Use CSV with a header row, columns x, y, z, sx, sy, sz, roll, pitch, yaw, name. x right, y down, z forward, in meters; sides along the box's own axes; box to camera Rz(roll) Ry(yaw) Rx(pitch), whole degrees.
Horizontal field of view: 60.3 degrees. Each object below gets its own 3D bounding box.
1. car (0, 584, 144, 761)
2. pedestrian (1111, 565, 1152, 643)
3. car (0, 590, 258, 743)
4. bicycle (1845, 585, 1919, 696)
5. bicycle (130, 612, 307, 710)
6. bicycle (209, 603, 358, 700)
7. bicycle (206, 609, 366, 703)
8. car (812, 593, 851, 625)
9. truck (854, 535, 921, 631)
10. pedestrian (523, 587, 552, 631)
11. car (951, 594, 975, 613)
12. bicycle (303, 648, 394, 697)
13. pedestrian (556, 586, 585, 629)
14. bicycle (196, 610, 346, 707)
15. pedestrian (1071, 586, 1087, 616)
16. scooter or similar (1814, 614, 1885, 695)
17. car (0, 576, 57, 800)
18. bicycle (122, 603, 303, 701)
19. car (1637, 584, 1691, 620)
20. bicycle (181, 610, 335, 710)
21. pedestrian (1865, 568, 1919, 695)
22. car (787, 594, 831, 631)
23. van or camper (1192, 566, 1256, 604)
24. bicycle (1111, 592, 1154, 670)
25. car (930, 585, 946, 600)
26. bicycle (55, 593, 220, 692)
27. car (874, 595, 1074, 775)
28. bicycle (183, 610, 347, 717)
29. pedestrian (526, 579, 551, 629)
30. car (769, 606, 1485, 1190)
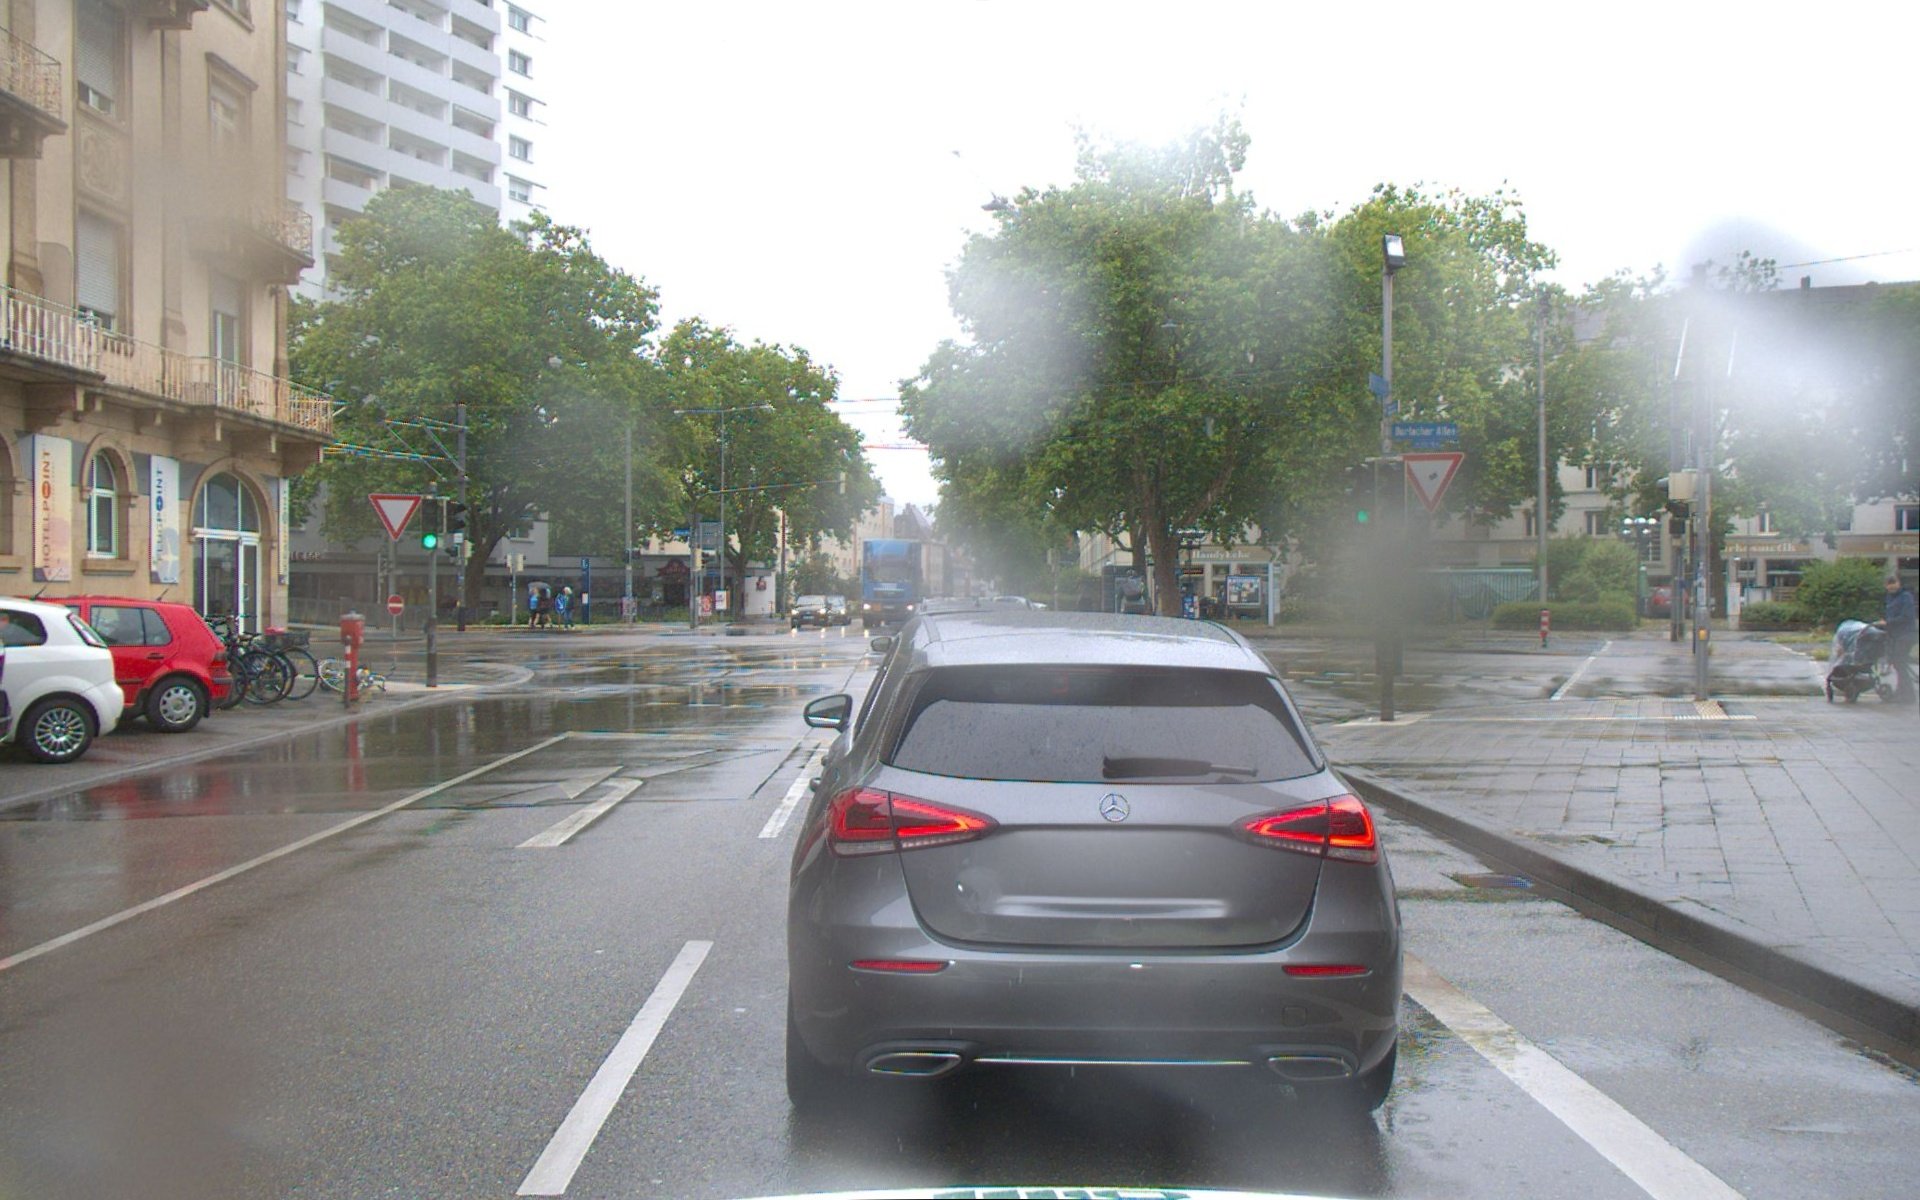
x,y,z,sx,sy,sz,roll,pitch,yaw,name
-9.694,0.625,14.847,3.958,1.560,1.679,1,0,-41,car
3.249,0.072,31.291,0.728,1.422,1.048,-1,0,6,pedestrian
-9.903,0.675,17.806,1.770,1.534,3.980,0,0,40,car
13.072,0.538,22.727,0.522,1.492,1.935,-1,0,-10,bicycle
-11.073,0.899,24.760,2.295,1.369,0.639,-1,0,-6,bicycle
-9.652,0.734,23.633,1.935,1.353,0.438,-1,0,1,bicycle
-9.379,0.775,23.050,1.941,1.205,0.474,3,0,-4,bicycle
-6.563,0.459,84.778,1.691,1.573,4.339,-1,0,-1,car
-3.222,-0.751,76.154,2.788,4.095,10.313,-1,0,-1,truck
-16.618,0.344,65.050,0.774,1.677,0.817,-1,0,14,pedestrian
0.223,0.324,142.864,1.953,1.601,3.998,-1,0,-2,car
-9.290,1.096,25.103,1.029,0.675,1.462,2,-1,-31,bicycle
-15.367,0.280,65.238,0.817,1.677,0.756,-1,0,14,pedestrian
-9.385,0.788,22.548,1.774,1.205,0.468,3,0,-3,bicycle
6.869,0.070,95.571,0.706,1.698,0.661,-1,-1,42,pedestrian
12.210,0.744,22.721,0.502,1.067,0.924,-1,0,2,scooter or similar
-9.218,0.641,12.381,4.048,1.721,1.738,1,0,-41,car
-10.874,0.744,24.108,2.295,1.369,0.639,-1,0,-6,bicycle
31.323,0.087,73.621,1.627,1.548,3.682,-1,0,14,car
-9.343,0.791,22.040,1.774,1.205,0.475,3,0,-3,bicycle
12.761,0.411,22.435,0.590,1.692,0.689,-1,0,2,pedestrian
-6.887,0.551,75.579,1.708,1.573,3.778,-1,0,-1,car
16.290,-0.909,101.701,2.349,2.270,5.424,-1,0,27,van or camper
3.262,0.560,31.304,0.733,1.401,2.709,-1,0,6,bicycle
-2.922,-1.004,218.865,1.850,1.868,4.001,-1,0,3,car
-11.751,0.594,23.678,2.017,1.369,0.584,-1,0,-6,bicycle
0.084,0.674,15.196,1.574,1.396,3.999,-1,0,-1,car
-8.800,0.794,20.967,1.772,1.205,0.601,4,0,4,bicycle
-15.932,0.134,62.542,0.674,1.870,0.630,-1,0,-43,pedestrian
0.392,0.747,5.842,1.755,1.396,3.506,1,0,-1,car
